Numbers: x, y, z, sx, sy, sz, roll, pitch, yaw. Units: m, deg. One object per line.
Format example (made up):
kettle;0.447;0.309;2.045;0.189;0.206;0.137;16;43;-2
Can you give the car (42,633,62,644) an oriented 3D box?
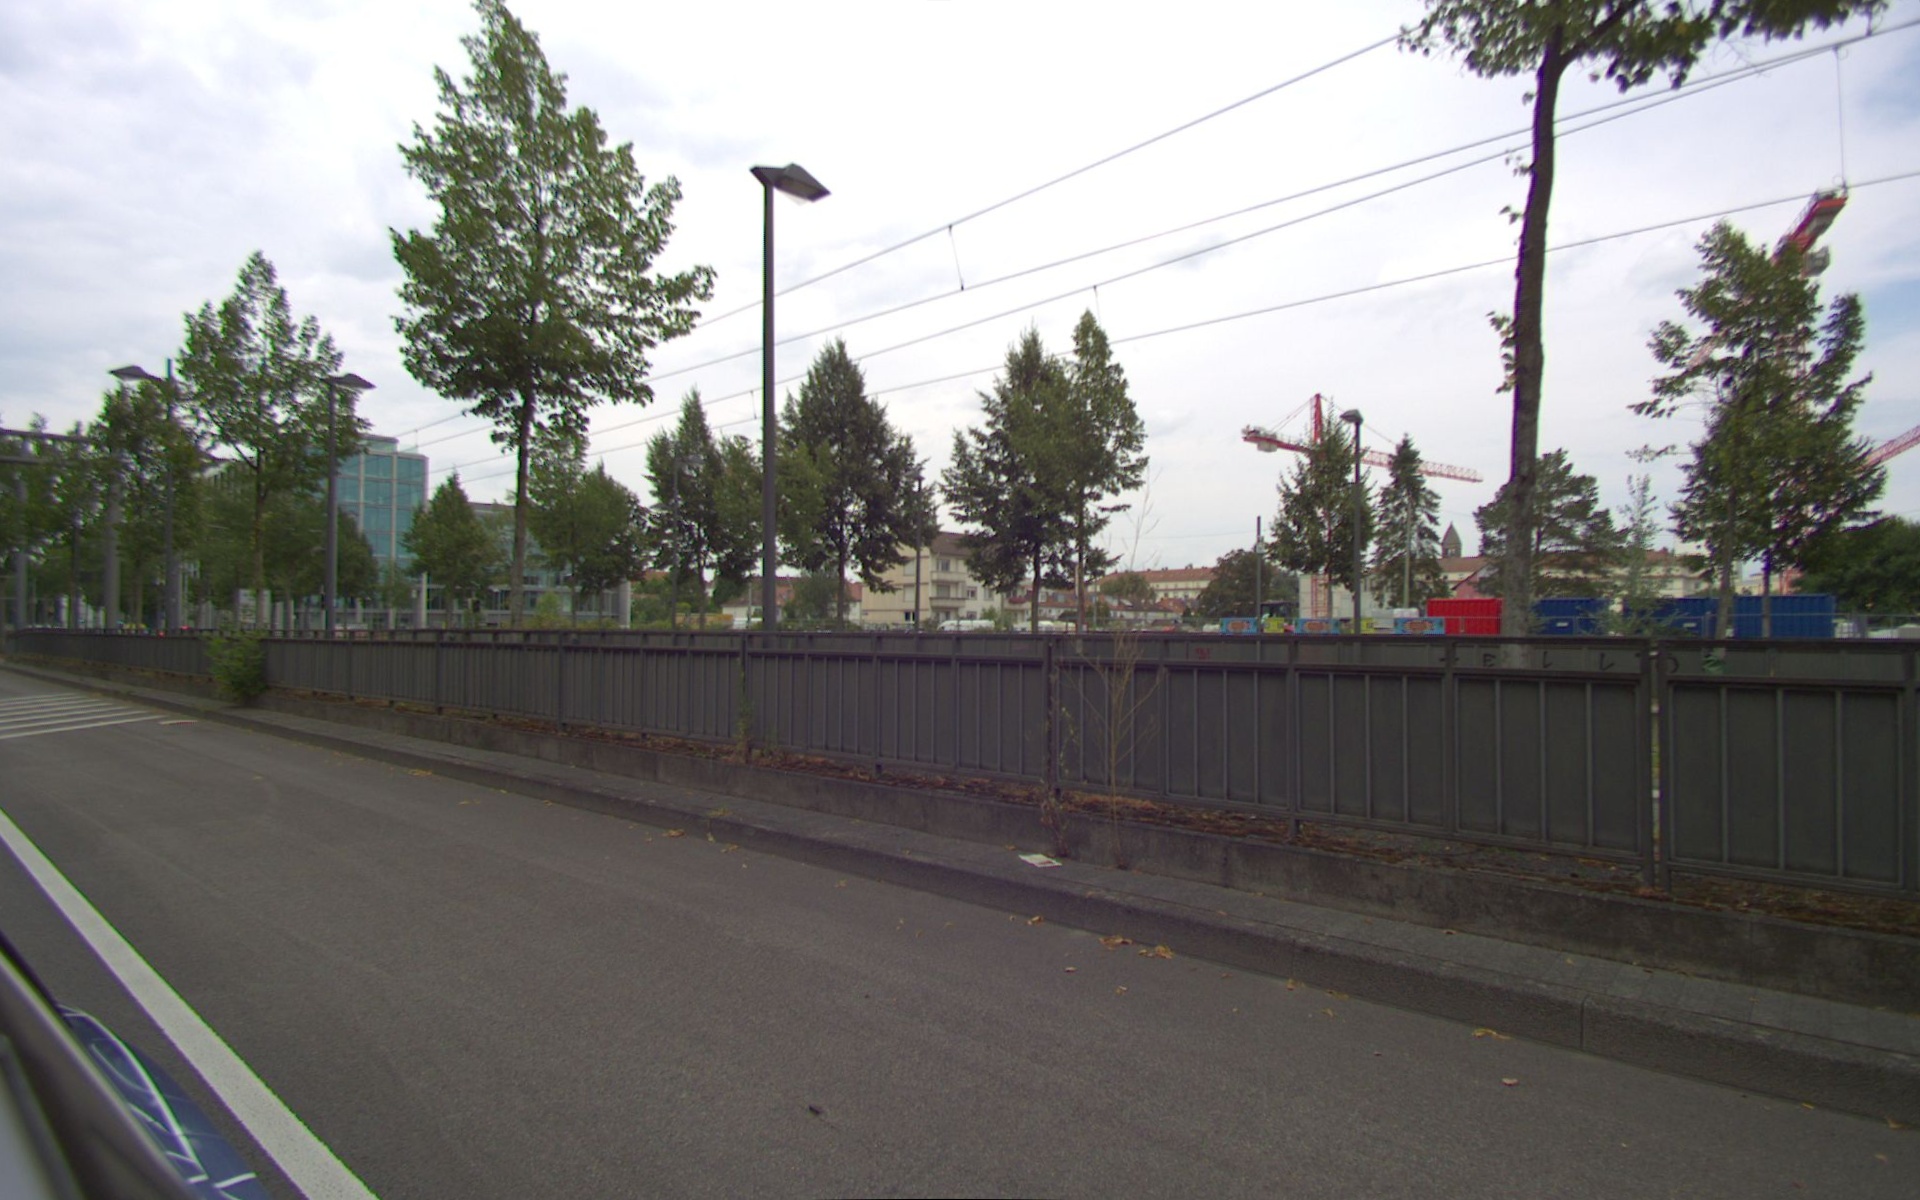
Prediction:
car;-124.849;5.328;139.157;3.864;1.468;1.729;-2;-2;42

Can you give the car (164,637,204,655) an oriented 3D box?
car;-70.771;4.178;92.246;4.687;1.669;1.809;-2;-3;39

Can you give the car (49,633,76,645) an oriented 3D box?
car;-111.450;4.796;125.635;3.997;1.429;1.973;-2;-2;40

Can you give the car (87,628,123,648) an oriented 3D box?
car;-86.139;3.829;101.969;5.093;1.959;1.973;-2;-2;41
